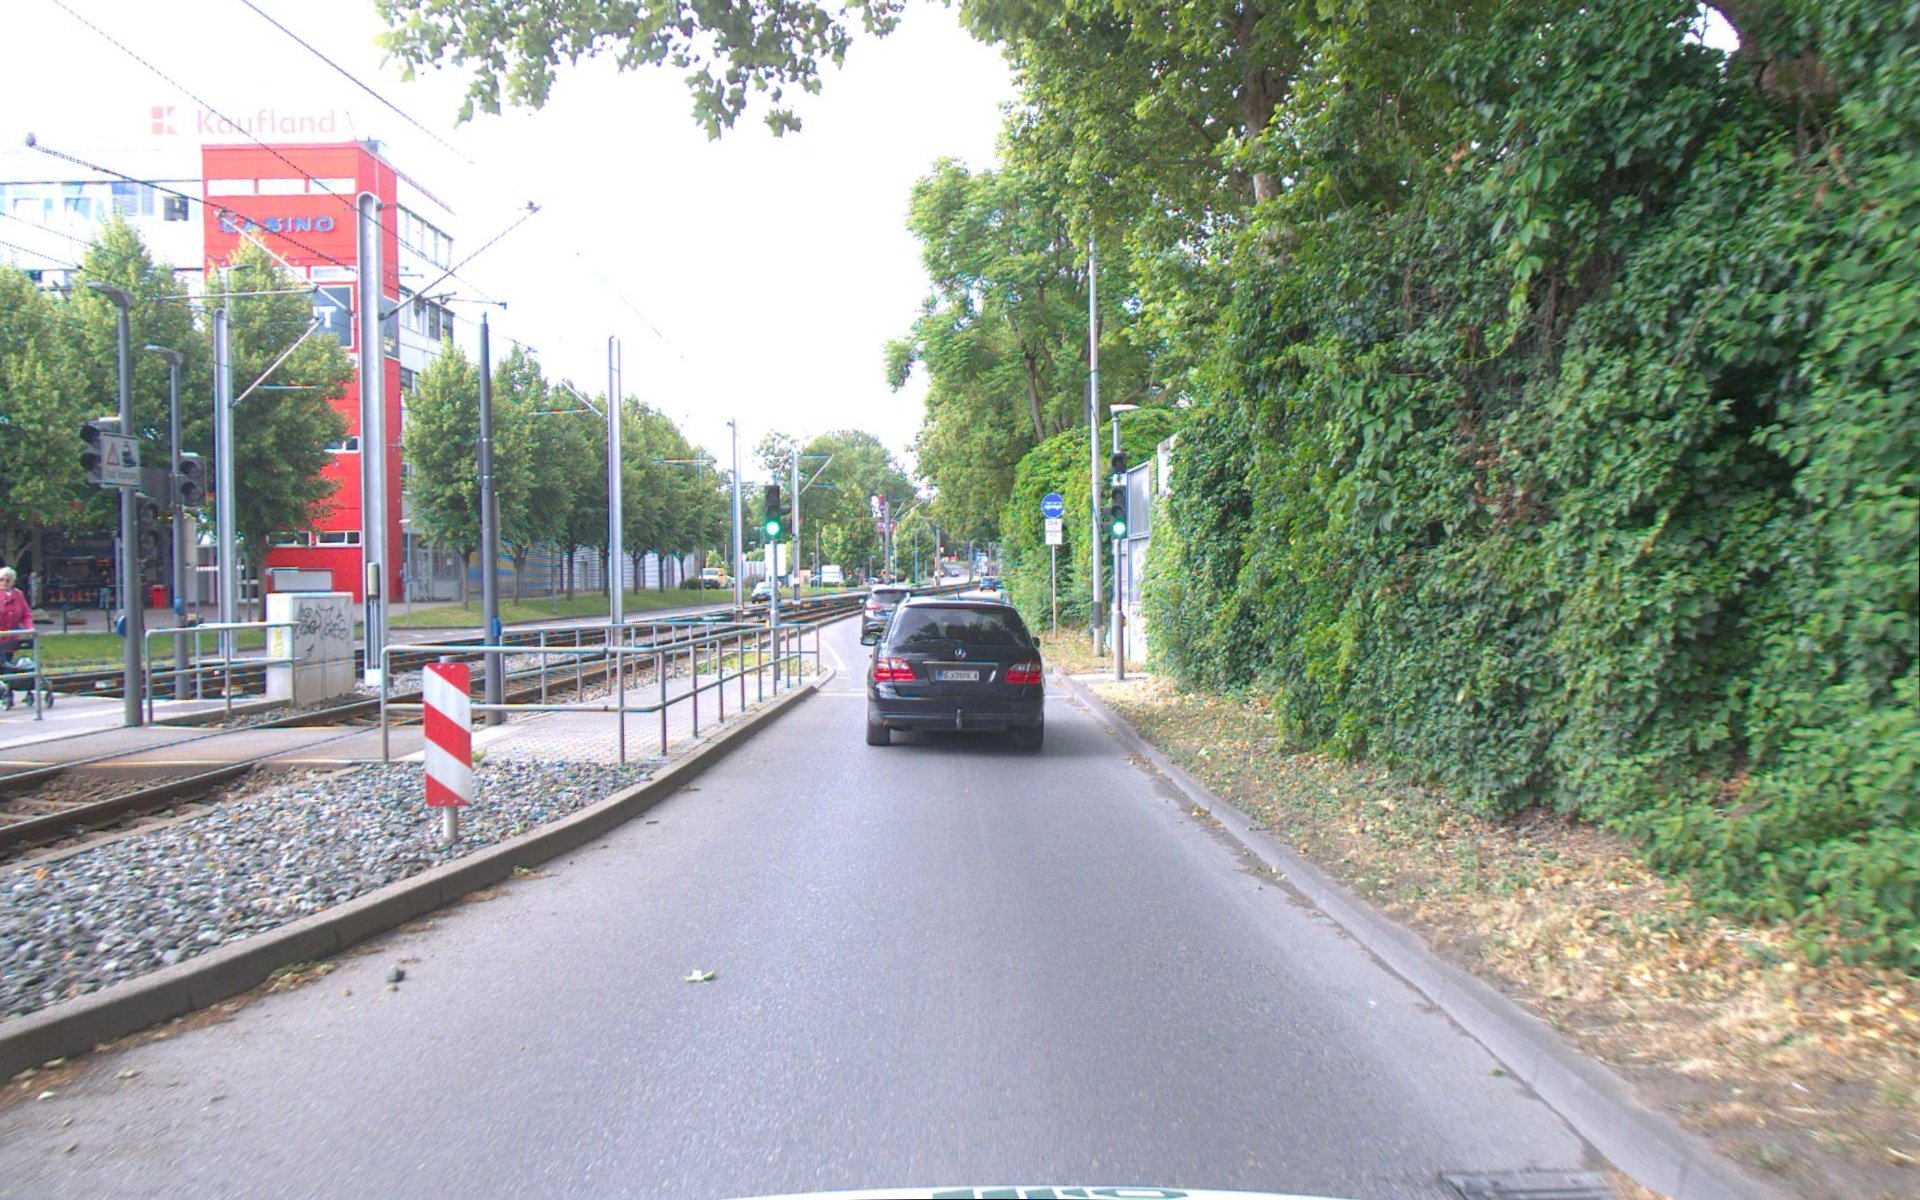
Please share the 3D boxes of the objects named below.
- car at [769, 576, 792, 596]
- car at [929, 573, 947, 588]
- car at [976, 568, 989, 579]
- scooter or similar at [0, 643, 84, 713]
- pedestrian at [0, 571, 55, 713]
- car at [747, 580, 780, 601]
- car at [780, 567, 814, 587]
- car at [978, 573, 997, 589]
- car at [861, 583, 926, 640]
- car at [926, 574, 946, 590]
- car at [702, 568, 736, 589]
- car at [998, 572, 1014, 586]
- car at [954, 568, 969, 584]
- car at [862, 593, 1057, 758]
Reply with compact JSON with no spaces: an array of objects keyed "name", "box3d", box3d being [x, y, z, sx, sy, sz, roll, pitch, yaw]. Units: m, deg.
[{"name":"car","box3d":[-19.291,-1.462,177.597,1.953,2.048,4.000,-2,1,0]},{"name":"car","box3d":[-2.276,-2.028,171.740,1.787,1.556,3.987,0,1,2]},{"name":"car","box3d":[3.377,-4.013,249.281,1.787,1.556,4.180,0,1,2]},{"name":"scooter or similar","box3d":[-11.084,0.930,19.931,0.485,0.781,0.799,-2,0,21]},{"name":"pedestrian","box3d":[-11.609,0.504,20.135,0.600,1.682,0.796,-2,0,21]},{"name":"car","box3d":[-14.154,-0.689,119.056,1.624,1.417,3.721,0,1,5]},{"name":"car","box3d":[-19.457,-2.718,197.687,3.909,2.160,1.998,-2,0,-5]},{"name":"car","box3d":[2.830,-1.912,169.564,1.787,1.556,4.417,-1,1,2]},{"name":"car","box3d":[-1.914,0.297,48.873,1.788,1.556,4.415,0,1,-1]},{"name":"car","box3d":[-2.400,-1.865,166.875,1.787,1.556,3.987,0,1,2]},{"name":"car","box3d":[-21.348,-1.899,146.653,1.952,1.773,4.990,-1,1,4]},{"name":"car","box3d":[5.152,-2.321,184.145,1.787,1.556,4.180,0,1,2]},{"name":"car","box3d":[0.214,-3.050,211.756,1.853,2.049,3.898,-1,1,0]},{"name":"car","box3d":[0.019,0.689,17.532,1.795,1.504,4.416,0,0,1]}]
